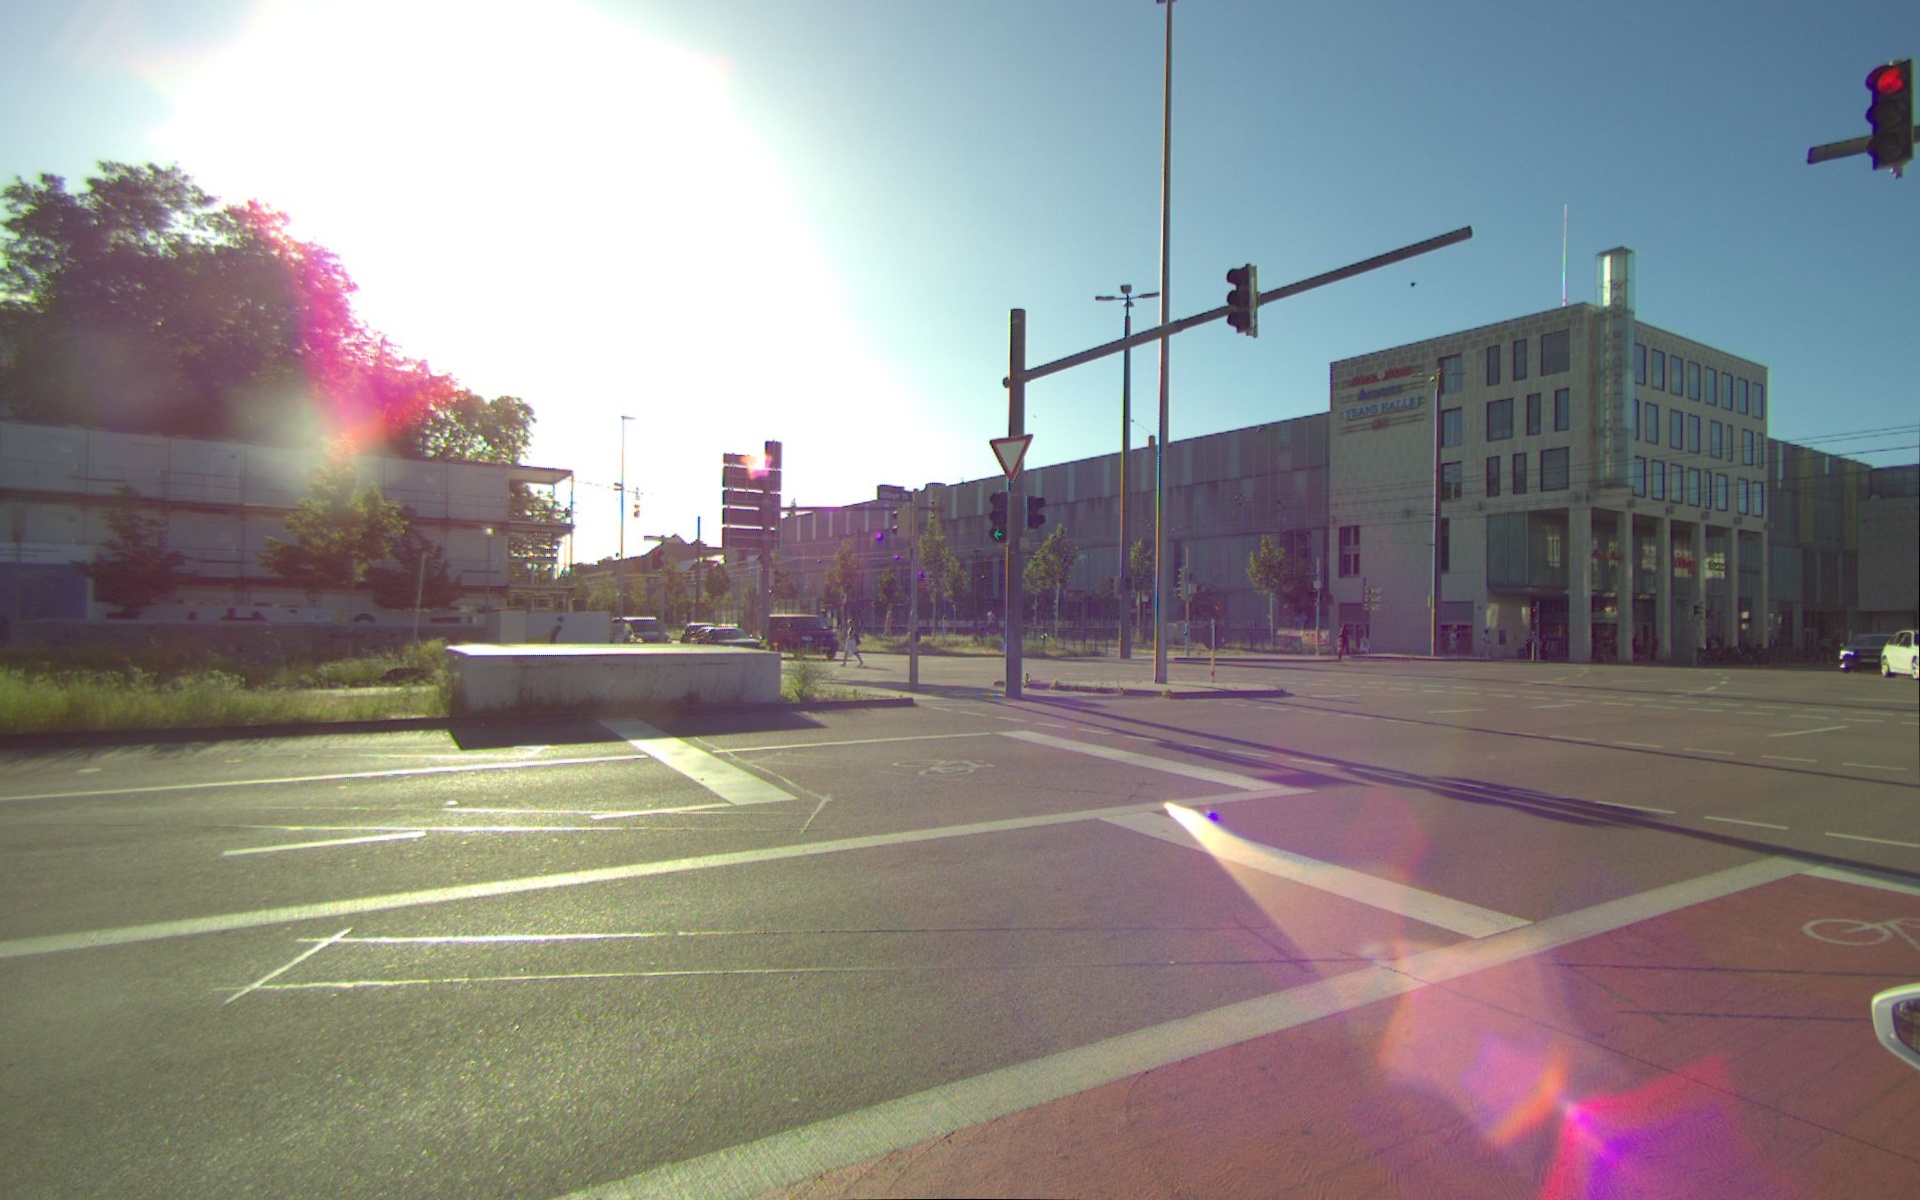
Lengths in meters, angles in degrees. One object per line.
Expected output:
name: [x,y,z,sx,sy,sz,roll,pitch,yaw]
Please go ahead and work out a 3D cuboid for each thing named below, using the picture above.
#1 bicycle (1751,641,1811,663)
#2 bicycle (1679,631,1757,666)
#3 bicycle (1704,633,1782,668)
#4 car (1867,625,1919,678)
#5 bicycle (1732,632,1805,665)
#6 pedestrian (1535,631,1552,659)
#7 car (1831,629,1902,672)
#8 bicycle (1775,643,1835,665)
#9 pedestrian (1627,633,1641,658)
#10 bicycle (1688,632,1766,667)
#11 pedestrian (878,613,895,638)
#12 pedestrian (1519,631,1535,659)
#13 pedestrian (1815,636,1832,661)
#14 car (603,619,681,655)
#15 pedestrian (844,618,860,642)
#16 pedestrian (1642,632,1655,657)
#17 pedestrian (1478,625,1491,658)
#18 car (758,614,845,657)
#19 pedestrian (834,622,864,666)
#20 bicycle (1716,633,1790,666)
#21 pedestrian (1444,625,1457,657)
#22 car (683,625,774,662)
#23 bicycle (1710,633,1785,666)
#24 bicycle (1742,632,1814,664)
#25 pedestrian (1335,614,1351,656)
bicycle: [55.052,3.450,67.395,0.893,1.419,3.032,1,-2,-34]
bicycle: [45.584,2.911,60.479,1.077,2.040,3.593,1,-2,-38]
bicycle: [48.061,3.068,61.713,1.075,2.040,3.598,1,-2,-34]
car: [28.260,1.464,29.186,1.965,1.374,4.635,-1,0,31]
bicycle: [52.825,3.155,65.687,0.893,2.040,3.598,1,-2,-34]
pedestrian: [34.260,2.652,58.943,0.646,1.629,0.619,1,-1,-32]
car: [35.473,1.937,39.279,1.972,1.550,4.012,-1,-2,43]
bicycle: [58.705,3.722,69.808,0.893,1.419,3.032,1,-2,-34]
pedestrian: [44.182,2.958,65.834,0.613,1.629,0.653,0,-1,24]
bicycle: [46.688,2.995,61.209,1.075,2.040,3.598,1,-2,-34]
pedestrian: [-4.437,1.534,60.900,0.718,1.522,0.794,1,-1,-39]
pedestrian: [33.796,2.662,59.840,0.646,1.629,0.619,1,-1,-32]
pedestrian: [56.095,3.144,65.279,0.731,1.629,0.623,0,-1,32]
car: [-15.551,1.812,49.028,2.119,1.631,4.604,4,-4,-38]
pedestrian: [-7.073,1.956,65.968,0.718,1.522,0.794,1,-1,-39]
pedestrian: [45.021,2.899,65.686,0.613,1.629,0.653,0,-1,24]
pedestrian: [33.091,2.619,63.375,0.512,2.040,0.618,1,-1,-39]
car: [-7.250,1.616,45.560,1.856,1.834,4.604,4,-4,-38]
pedestrian: [-3.970,1.559,35.880,0.796,1.522,0.716,1,-1,-40]
bicycle: [51.012,3.142,64.694,1.075,2.040,3.598,1,-2,-34]
pedestrian: [31.424,2.622,64.384,0.512,2.040,0.618,1,-1,-39]
car: [-9.617,1.771,41.486,1.856,1.392,4.604,4,-4,-38]
bicycle: [50.108,3.102,63.993,1.075,2.040,3.598,1,-2,-34]
bicycle: [54.308,3.156,66.761,0.893,2.040,3.598,1,-2,-34]
pedestrian: [18.977,1.740,49.763,0.620,2.040,0.509,1,-1,-44]
